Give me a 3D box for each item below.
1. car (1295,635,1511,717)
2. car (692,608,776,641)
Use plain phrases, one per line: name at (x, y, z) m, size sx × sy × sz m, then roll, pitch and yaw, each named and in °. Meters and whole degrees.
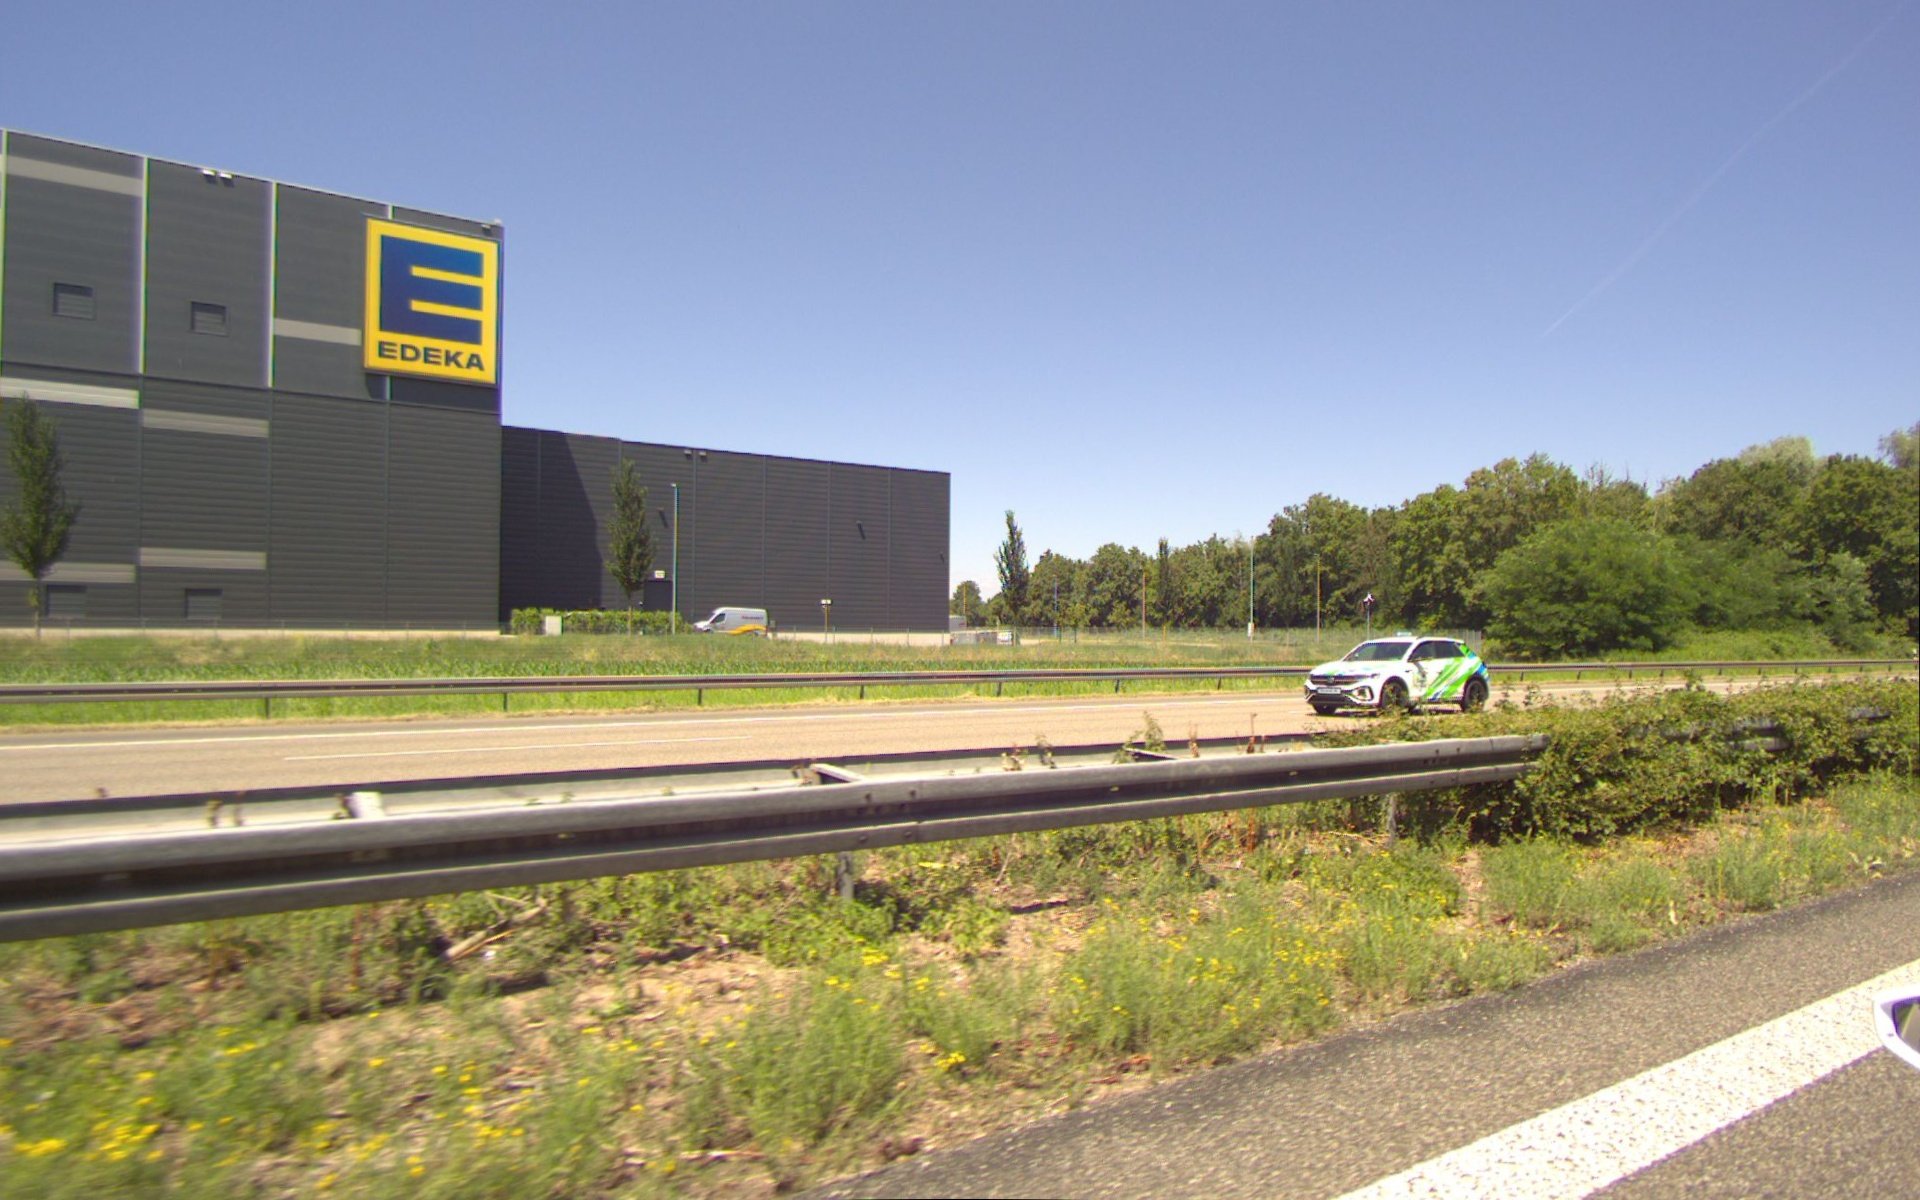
car at (9.061, 1.509, 20.476) m, size 4.365 × 1.503 × 1.799 m, roll 2°, pitch -4°, yaw -30°
car at (-17.876, 1.937, 79.516) m, size 6.102 × 2.488 × 2.386 m, roll 2°, pitch -2°, yaw -30°
